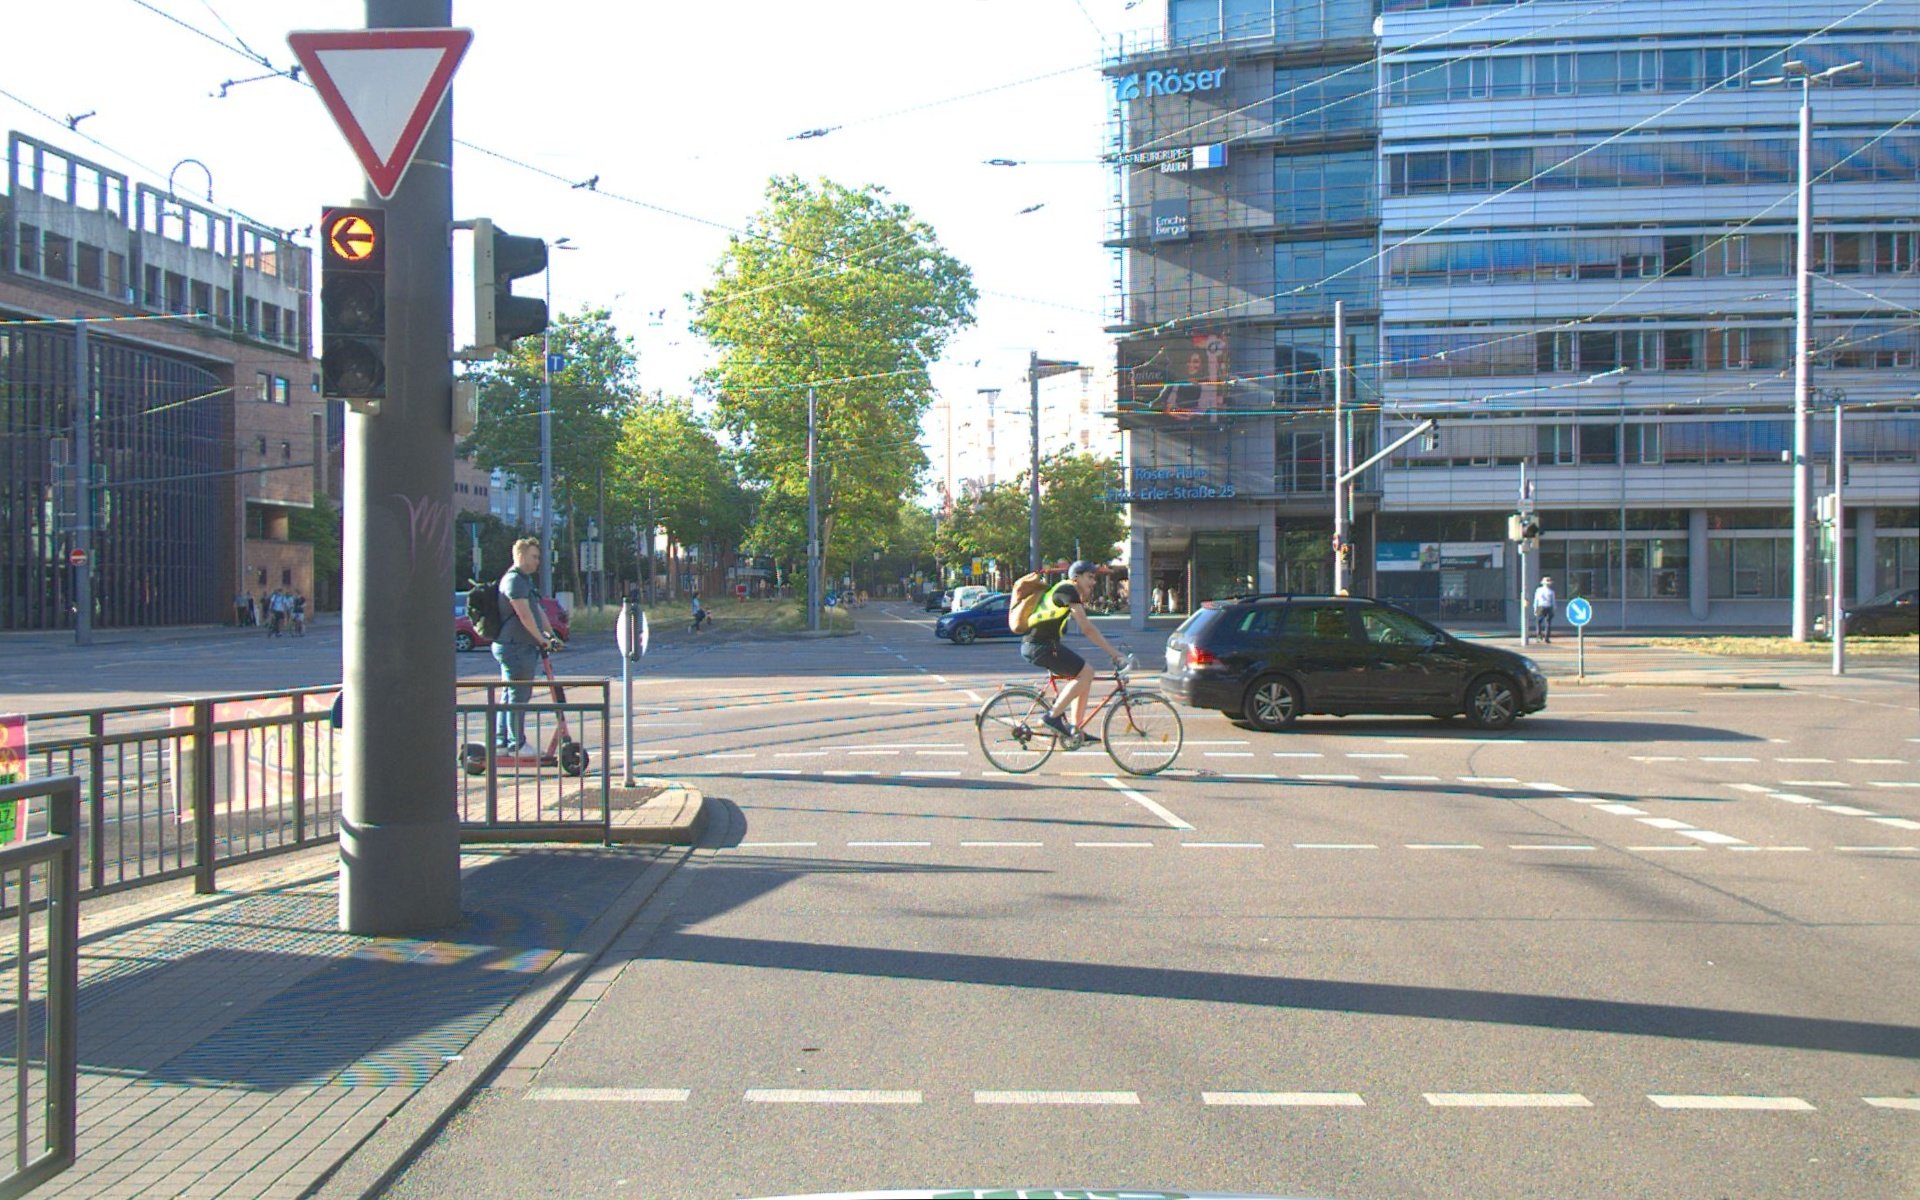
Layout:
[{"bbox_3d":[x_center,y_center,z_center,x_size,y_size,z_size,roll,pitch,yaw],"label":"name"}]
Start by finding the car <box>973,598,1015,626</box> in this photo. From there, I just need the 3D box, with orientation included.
[{"bbox_3d":[1.666,0.589,82.874,1.953,1.355,3.999,-1,0,-1],"label":"car"}]

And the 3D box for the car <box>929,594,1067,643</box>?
[{"bbox_3d":[1.109,0.539,49.690,3.911,1.371,1.973,-1,0,-7],"label":"car"}]

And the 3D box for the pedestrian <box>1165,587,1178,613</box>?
[{"bbox_3d":[12.247,0.020,95.742,0.691,1.491,0.384,-1,0,8],"label":"pedestrian"}]

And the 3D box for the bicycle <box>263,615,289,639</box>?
[{"bbox_3d":[-26.904,1.053,65.101,0.503,0.897,1.835,-1,0,-8],"label":"bicycle"}]

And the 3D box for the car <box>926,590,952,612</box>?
[{"bbox_3d":[-1.634,0.059,126.696,1.953,1.691,3.999,-1,0,-1],"label":"car"}]

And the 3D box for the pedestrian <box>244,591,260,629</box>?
[{"bbox_3d":[-34.494,0.503,80.564,0.479,1.842,0.546,-1,0,6],"label":"pedestrian"}]

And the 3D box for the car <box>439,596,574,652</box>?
[{"bbox_3d":[-12.686,0.654,46.441,3.534,1.492,1.790,-1,0,-13],"label":"car"}]

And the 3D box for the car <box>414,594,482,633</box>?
[{"bbox_3d":[-21.170,0.530,68.503,1.955,1.534,3.994,-1,0,-6],"label":"car"}]

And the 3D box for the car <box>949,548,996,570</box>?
[{"bbox_3d":[1.039,-3.495,140.956,3.681,1.780,1.783,1,0,14],"label":"car"}]

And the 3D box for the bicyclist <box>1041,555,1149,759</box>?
[{"bbox_3d":[1.142,0.476,14.100,0.885,1.693,0.639,0,0,2],"label":"bicyclist"}]

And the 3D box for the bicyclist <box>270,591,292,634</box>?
[{"bbox_3d":[-26.755,0.484,65.212,0.582,1.705,0.788,-1,0,-7],"label":"bicyclist"}]

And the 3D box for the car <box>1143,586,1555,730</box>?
[{"bbox_3d":[4.438,0.624,19.313,4.297,1.544,1.999,0,1,-4],"label":"car"}]

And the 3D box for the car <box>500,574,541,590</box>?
[{"bbox_3d":[-46.018,-1.853,173.204,3.948,1.579,1.589,1,-1,-32],"label":"car"}]

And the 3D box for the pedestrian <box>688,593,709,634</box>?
[{"bbox_3d":[-10.004,0.531,63.254,0.740,1.557,0.507,1,0,-8],"label":"pedestrian"}]

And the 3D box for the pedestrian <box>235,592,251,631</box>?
[{"bbox_3d":[-34.333,0.541,79.192,0.479,1.842,0.546,0,0,6],"label":"pedestrian"}]

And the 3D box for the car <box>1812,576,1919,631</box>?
[{"bbox_3d":[25.441,0.066,44.414,4.151,1.417,1.796,-1,0,4],"label":"car"}]

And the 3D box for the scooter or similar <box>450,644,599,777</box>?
[{"bbox_3d":[-3.818,0.966,14.518,1.181,1.123,0.403,-1,0,2],"label":"scooter or similar"}]

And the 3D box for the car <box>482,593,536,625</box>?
[{"bbox_3d":[-22.651,0.447,83.199,1.955,1.534,3.994,-1,0,-6],"label":"car"}]

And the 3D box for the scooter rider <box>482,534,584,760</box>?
[{"bbox_3d":[-3.756,0.405,14.583,0.650,1.929,0.736,-1,0,2],"label":"scooter rider"}]

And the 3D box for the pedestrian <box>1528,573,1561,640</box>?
[{"bbox_3d":[15.196,0.171,43.009,0.704,1.711,0.557,1,0,6],"label":"pedestrian"}]

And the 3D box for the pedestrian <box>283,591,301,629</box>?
[{"bbox_3d":[-32.430,0.469,80.302,0.627,1.842,0.546,0,0,6],"label":"pedestrian"}]

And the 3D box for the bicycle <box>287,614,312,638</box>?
[{"bbox_3d":[-26.109,1.021,65.418,0.503,0.897,1.835,-1,0,-8],"label":"bicycle"}]

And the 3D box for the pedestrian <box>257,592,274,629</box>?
[{"bbox_3d":[-33.731,0.503,80.329,0.511,1.810,0.546,-1,0,6],"label":"pedestrian"}]

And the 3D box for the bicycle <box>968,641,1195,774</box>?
[{"bbox_3d":[1.023,0.904,14.103,1.883,1.083,0.629,0,0,2],"label":"bicycle"}]

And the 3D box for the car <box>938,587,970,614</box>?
[{"bbox_3d":[-0.378,0.022,104.999,1.953,1.691,3.999,-1,0,-1],"label":"car"}]

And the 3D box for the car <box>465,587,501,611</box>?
[{"bbox_3d":[-30.946,-0.066,107.441,1.873,1.536,3.988,1,0,-12],"label":"car"}]

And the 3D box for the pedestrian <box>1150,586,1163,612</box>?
[{"bbox_3d":[11.425,-0.063,96.078,0.723,1.491,0.537,-1,0,8],"label":"pedestrian"}]

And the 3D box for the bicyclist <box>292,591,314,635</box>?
[{"bbox_3d":[-26.012,0.500,65.479,0.582,1.705,0.788,-1,0,-7],"label":"bicyclist"}]

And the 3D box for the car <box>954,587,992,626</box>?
[{"bbox_3d":[0.675,0.341,89.699,1.953,2.026,3.999,-1,0,-1],"label":"car"}]
